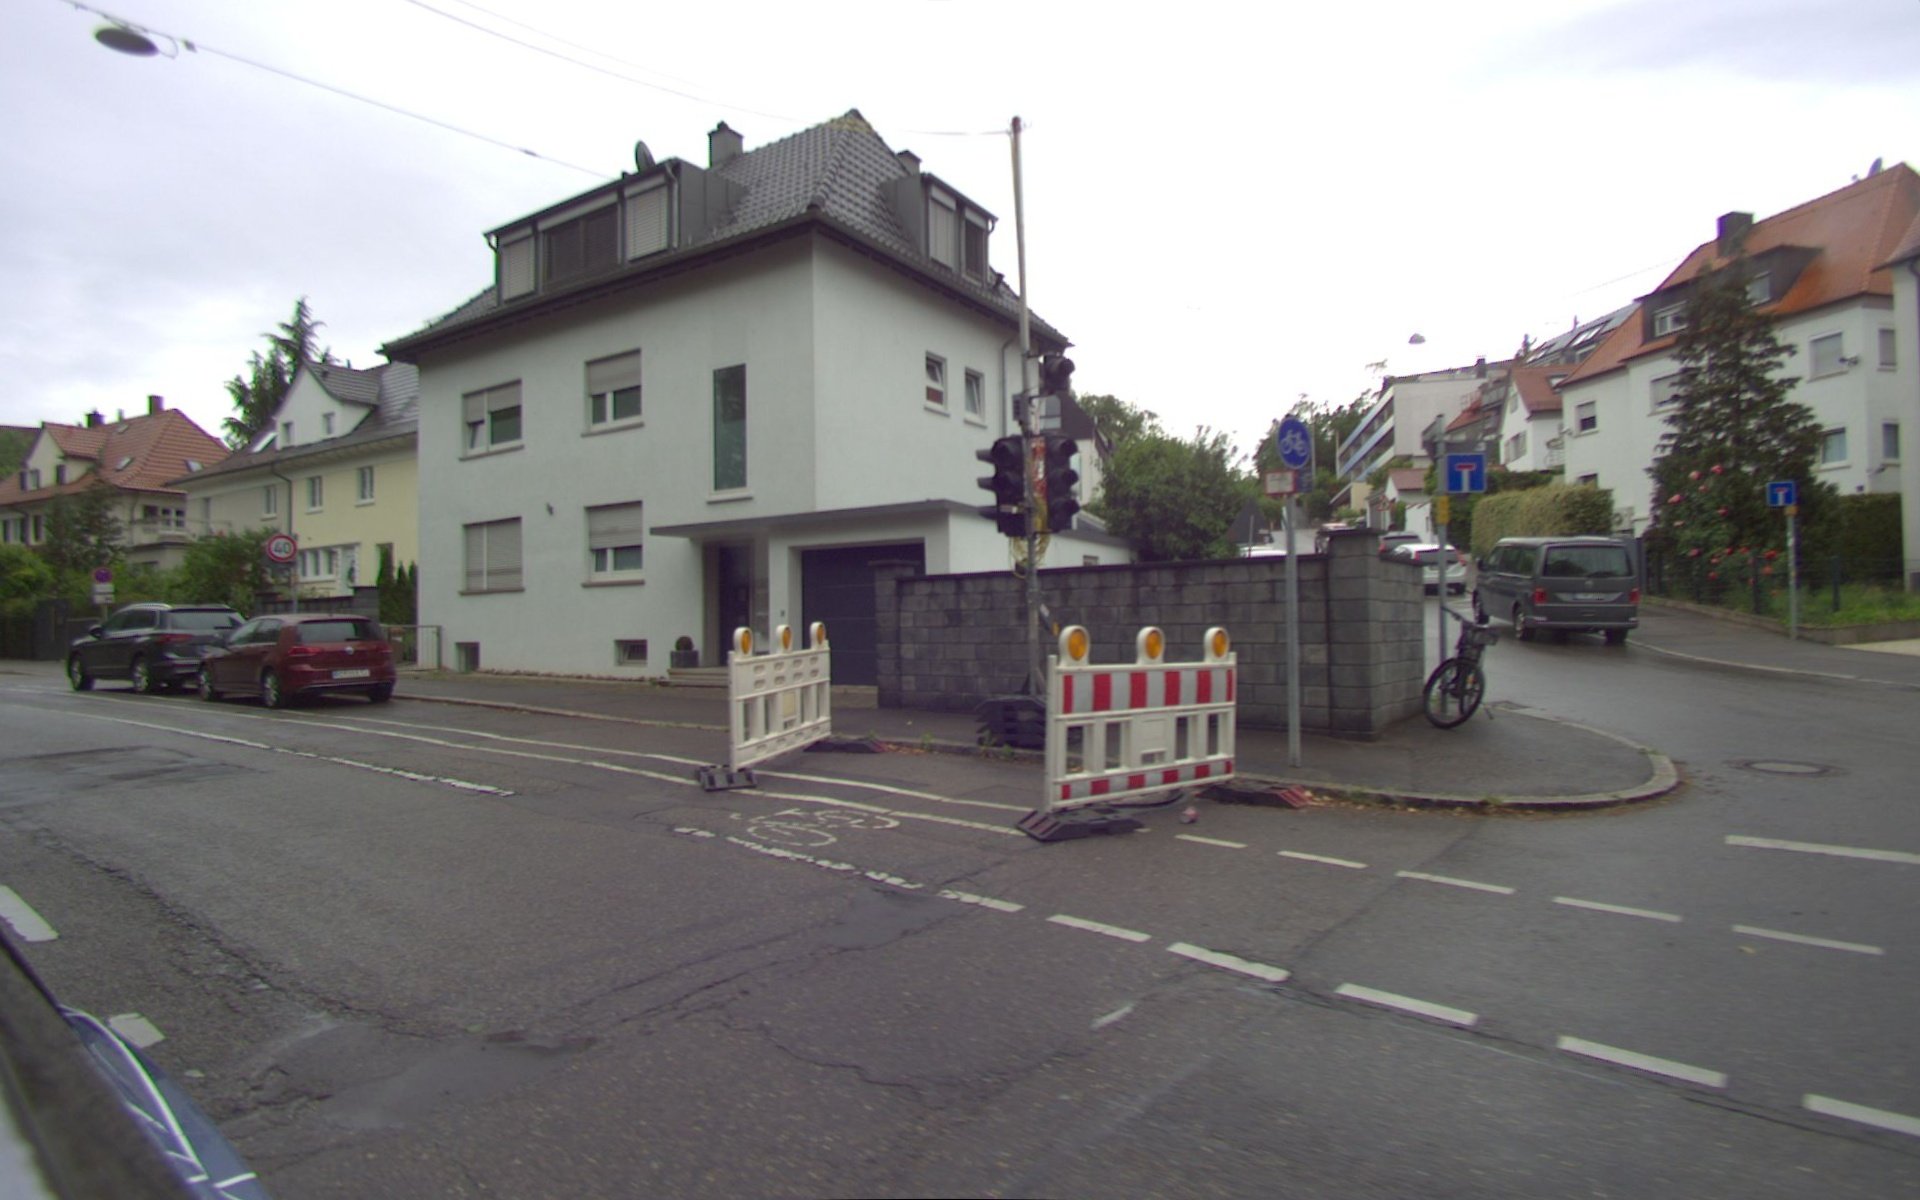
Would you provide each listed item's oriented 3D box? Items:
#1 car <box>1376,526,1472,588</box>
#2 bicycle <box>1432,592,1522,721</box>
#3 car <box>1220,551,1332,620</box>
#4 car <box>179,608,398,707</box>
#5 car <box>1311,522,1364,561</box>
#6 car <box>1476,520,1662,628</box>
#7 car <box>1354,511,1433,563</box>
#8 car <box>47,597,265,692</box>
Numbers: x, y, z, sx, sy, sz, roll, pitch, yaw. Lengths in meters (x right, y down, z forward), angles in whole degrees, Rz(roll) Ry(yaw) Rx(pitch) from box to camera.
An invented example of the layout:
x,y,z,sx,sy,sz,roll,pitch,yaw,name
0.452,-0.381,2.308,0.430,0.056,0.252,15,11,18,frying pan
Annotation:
x,y,z,sx,sy,sz,roll,pitch,yaw,name
14.256,-1.384,31.333,1.850,1.758,3.986,0,5,12,car
5.124,0.510,9.995,0.463,1.132,1.498,1,3,40,bicycle
7.338,-0.398,23.890,1.869,1.477,3.991,0,2,8,car
-11.213,0.901,16.807,4.220,1.451,1.602,-2,-1,35,car
18.330,-2.887,49.273,1.850,1.758,3.986,0,5,12,car
12.100,-0.619,20.448,1.980,1.933,3.986,0,5,12,car
15.558,-2.313,36.535,1.850,1.758,3.986,0,5,12,car
-15.618,0.842,19.619,4.385,1.671,1.743,-1,-2,29,car
